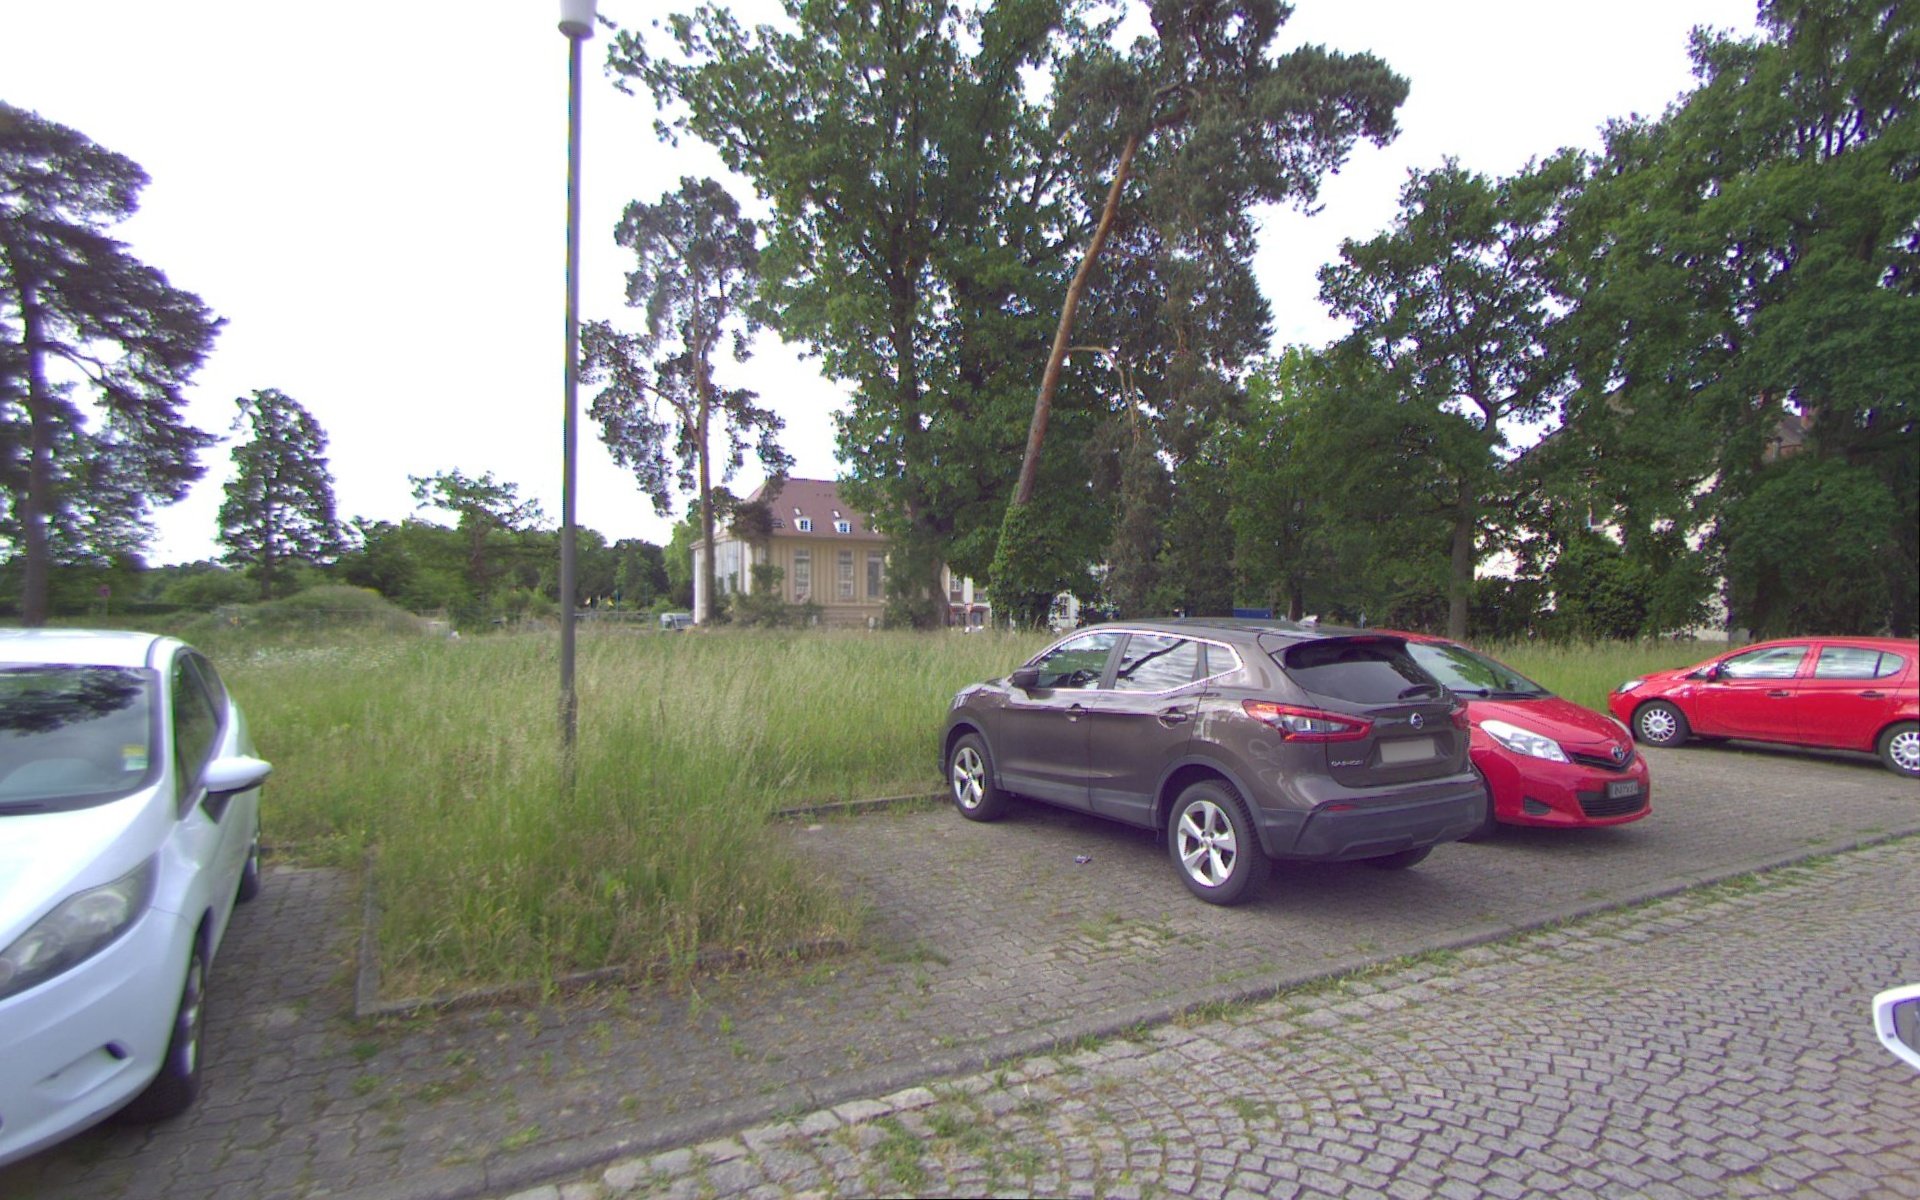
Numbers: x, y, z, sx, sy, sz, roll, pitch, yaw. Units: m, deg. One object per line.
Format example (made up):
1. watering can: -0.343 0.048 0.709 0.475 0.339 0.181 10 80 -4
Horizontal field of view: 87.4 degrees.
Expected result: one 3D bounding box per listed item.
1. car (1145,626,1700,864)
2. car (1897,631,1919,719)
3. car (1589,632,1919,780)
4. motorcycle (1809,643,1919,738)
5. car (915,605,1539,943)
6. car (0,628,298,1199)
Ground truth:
1. car: 3.712 1.012 8.855 1.885 1.530 4.146 1 -1 -30
2. car: 19.225 1.396 17.269 1.865 1.598 4.207 1 0 -30
3. car: 10.369 1.190 12.389 1.883 1.545 4.035 1 -1 -30
4. motorcycle: 14.077 1.346 14.821 0.710 1.309 2.265 1 0 -28
5. car: 1.531 0.897 7.203 1.964 1.644 4.144 1 -1 -31
6. car: -3.739 0.888 3.883 1.761 1.530 4.145 1 -1 -31
